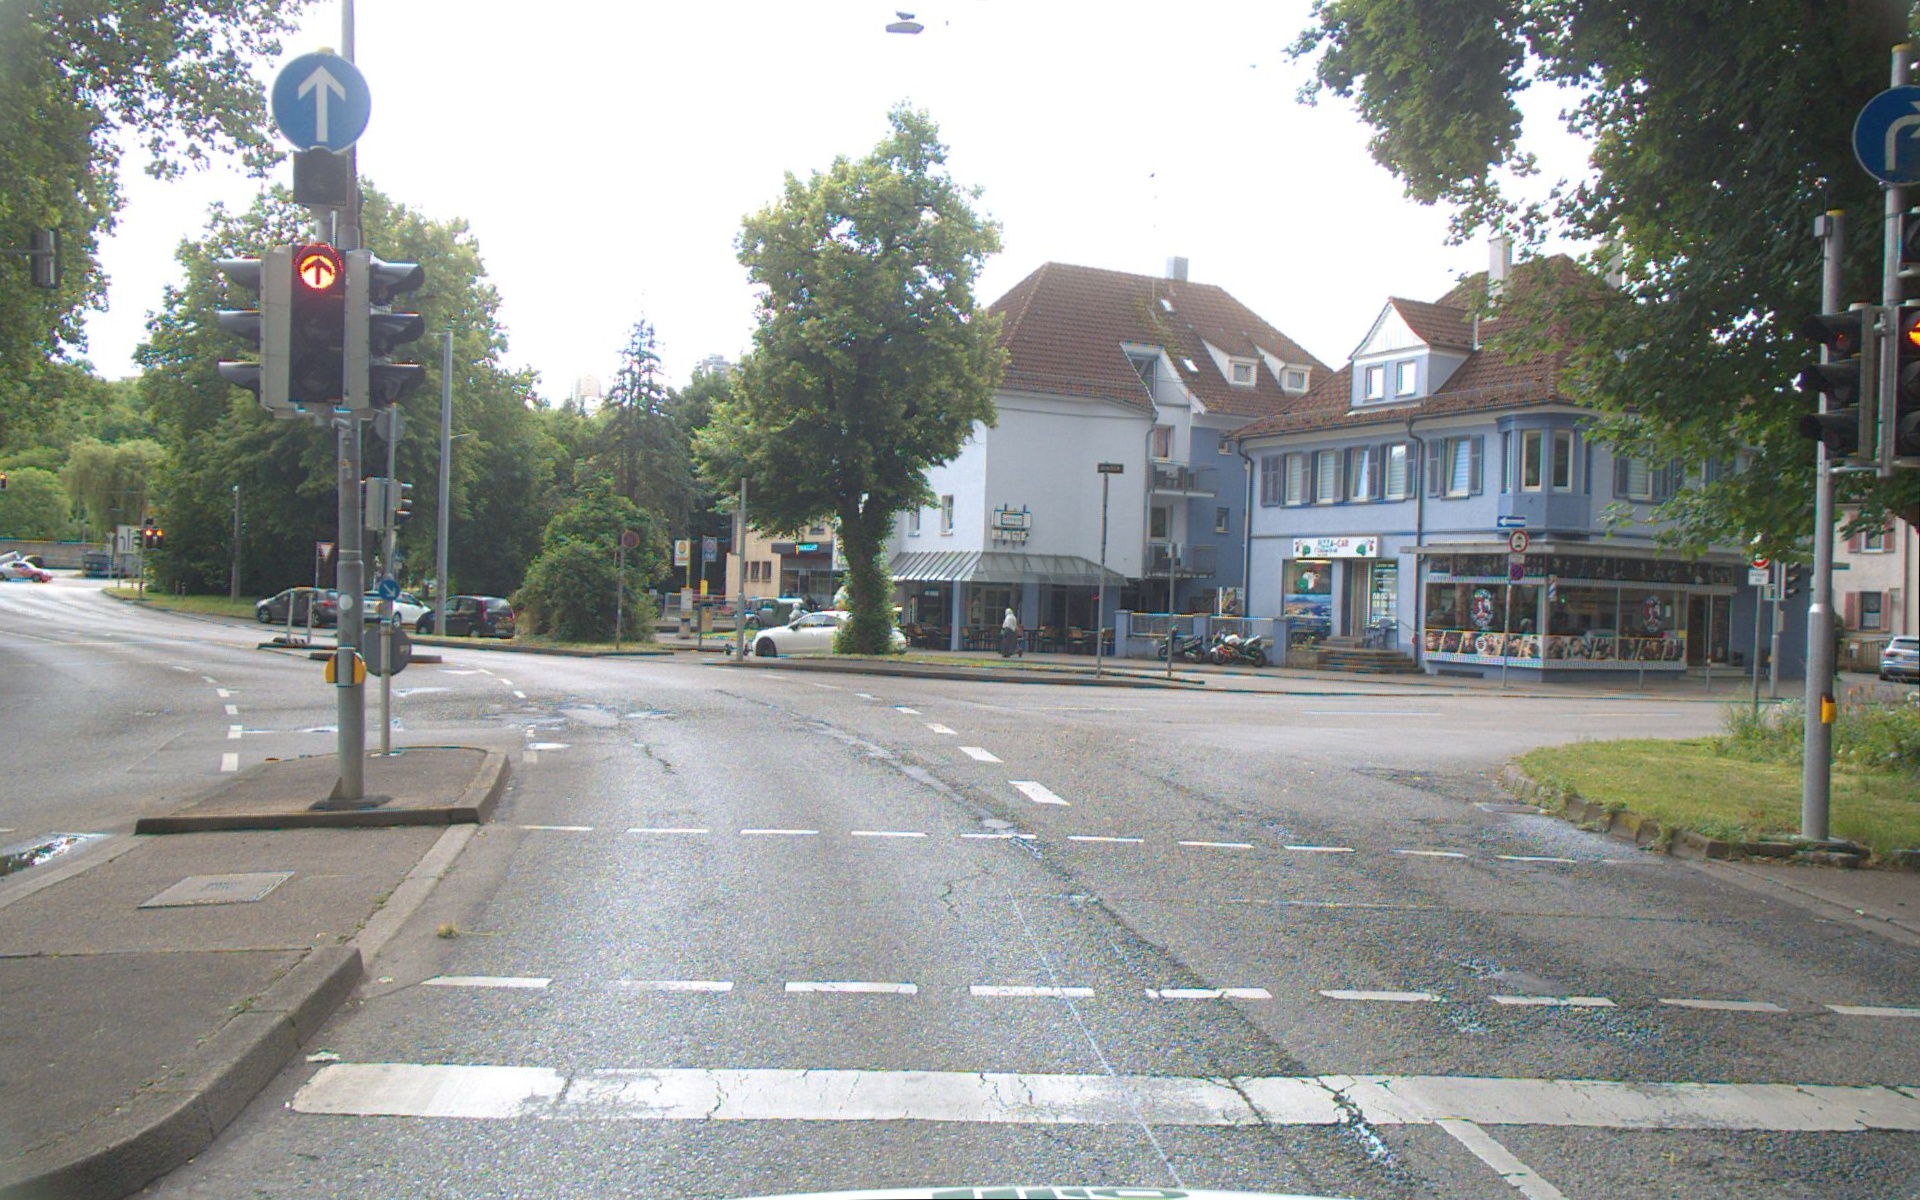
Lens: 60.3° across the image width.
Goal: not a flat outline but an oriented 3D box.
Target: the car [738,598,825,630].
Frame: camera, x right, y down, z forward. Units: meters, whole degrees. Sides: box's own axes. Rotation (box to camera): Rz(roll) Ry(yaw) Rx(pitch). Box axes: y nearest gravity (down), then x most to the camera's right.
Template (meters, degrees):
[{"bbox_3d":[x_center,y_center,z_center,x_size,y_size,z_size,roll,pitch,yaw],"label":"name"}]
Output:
[{"bbox_3d":[-8.160,0.651,75.729,3.690,1.368,1.421,1,0,-27],"label":"car"}]

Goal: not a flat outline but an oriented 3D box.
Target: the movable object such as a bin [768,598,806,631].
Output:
[{"bbox_3d":[-7.720,0.667,73.839,1.424,1.433,0.959,1,0,-27],"label":"movable object such as a bin"}]

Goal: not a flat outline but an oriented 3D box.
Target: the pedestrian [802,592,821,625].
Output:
[{"bbox_3d":[-7.221,0.403,80.408,0.670,1.572,0.699,2,0,-35],"label":"pedestrian"}]

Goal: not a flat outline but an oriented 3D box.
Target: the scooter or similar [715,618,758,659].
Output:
[{"bbox_3d":[-5.731,0.987,42.539,0.408,1.029,1.567,1,0,20],"label":"scooter or similar"}]

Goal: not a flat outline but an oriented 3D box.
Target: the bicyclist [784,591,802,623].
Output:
[{"bbox_3d":[-8.289,0.334,81.930,0.726,1.568,0.597,1,0,-19],"label":"bicyclist"}]

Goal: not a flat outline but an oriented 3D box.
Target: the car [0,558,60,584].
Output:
[{"bbox_3d":[-69.337,-2.151,122.878,3.920,1.814,1.992,1,0,-15],"label":"car"}]

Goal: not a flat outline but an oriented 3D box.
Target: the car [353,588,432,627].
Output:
[{"bbox_3d":[-22.670,0.315,66.181,1.512,1.490,3.398,1,0,10],"label":"car"}]

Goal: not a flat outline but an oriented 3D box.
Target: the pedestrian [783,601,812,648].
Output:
[{"bbox_3d":[-5.547,0.827,56.582,0.694,1.572,0.675,1,0,39],"label":"pedestrian"}]

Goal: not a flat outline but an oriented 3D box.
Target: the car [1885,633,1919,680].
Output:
[{"bbox_3d":[29.851,1.743,51.413,1.471,1.393,3.164,1,0,38],"label":"car"}]

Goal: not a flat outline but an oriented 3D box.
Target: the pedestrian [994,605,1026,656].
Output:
[{"bbox_3d":[1.583,0.956,52.185,0.754,1.572,0.675,1,-1,38],"label":"pedestrian"}]

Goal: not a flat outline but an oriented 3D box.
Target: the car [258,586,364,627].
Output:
[{"bbox_3d":[-24.860,0.253,63.390,3.469,1.490,1.586,1,0,12],"label":"car"}]

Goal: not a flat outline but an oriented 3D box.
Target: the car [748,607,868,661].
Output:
[{"bbox_3d":[-4.245,0.922,45.956,3.110,1.378,1.435,1,0,34],"label":"car"}]

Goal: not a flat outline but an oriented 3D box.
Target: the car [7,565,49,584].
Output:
[{"bbox_3d":[-102.222,-2.801,181.483,3.948,2.049,1.978,1,0,-32],"label":"car"}]

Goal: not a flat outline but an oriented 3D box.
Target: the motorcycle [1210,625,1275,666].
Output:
[{"bbox_3d":[8.272,1.315,48.478,1.765,1.141,0.692,1,0,38],"label":"motorcycle"}]

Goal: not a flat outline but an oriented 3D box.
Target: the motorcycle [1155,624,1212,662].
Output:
[{"bbox_3d":[6.792,1.299,50.235,1.609,1.082,0.690,1,0,44],"label":"motorcycle"}]

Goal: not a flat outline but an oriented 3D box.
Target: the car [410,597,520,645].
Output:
[{"bbox_3d":[-16.008,0.666,53.459,3.519,1.418,1.468,1,0,32],"label":"car"}]

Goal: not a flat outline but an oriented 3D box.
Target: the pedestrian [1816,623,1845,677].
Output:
[{"bbox_3d":[24.970,1.435,47.428,0.451,1.544,0.584,1,-1,-21],"label":"pedestrian"}]

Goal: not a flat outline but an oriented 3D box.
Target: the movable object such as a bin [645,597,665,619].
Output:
[{"bbox_3d":[-15.855,0.406,85.911,0.937,1.135,0.381,1,0,-22],"label":"movable object such as a bin"}]
